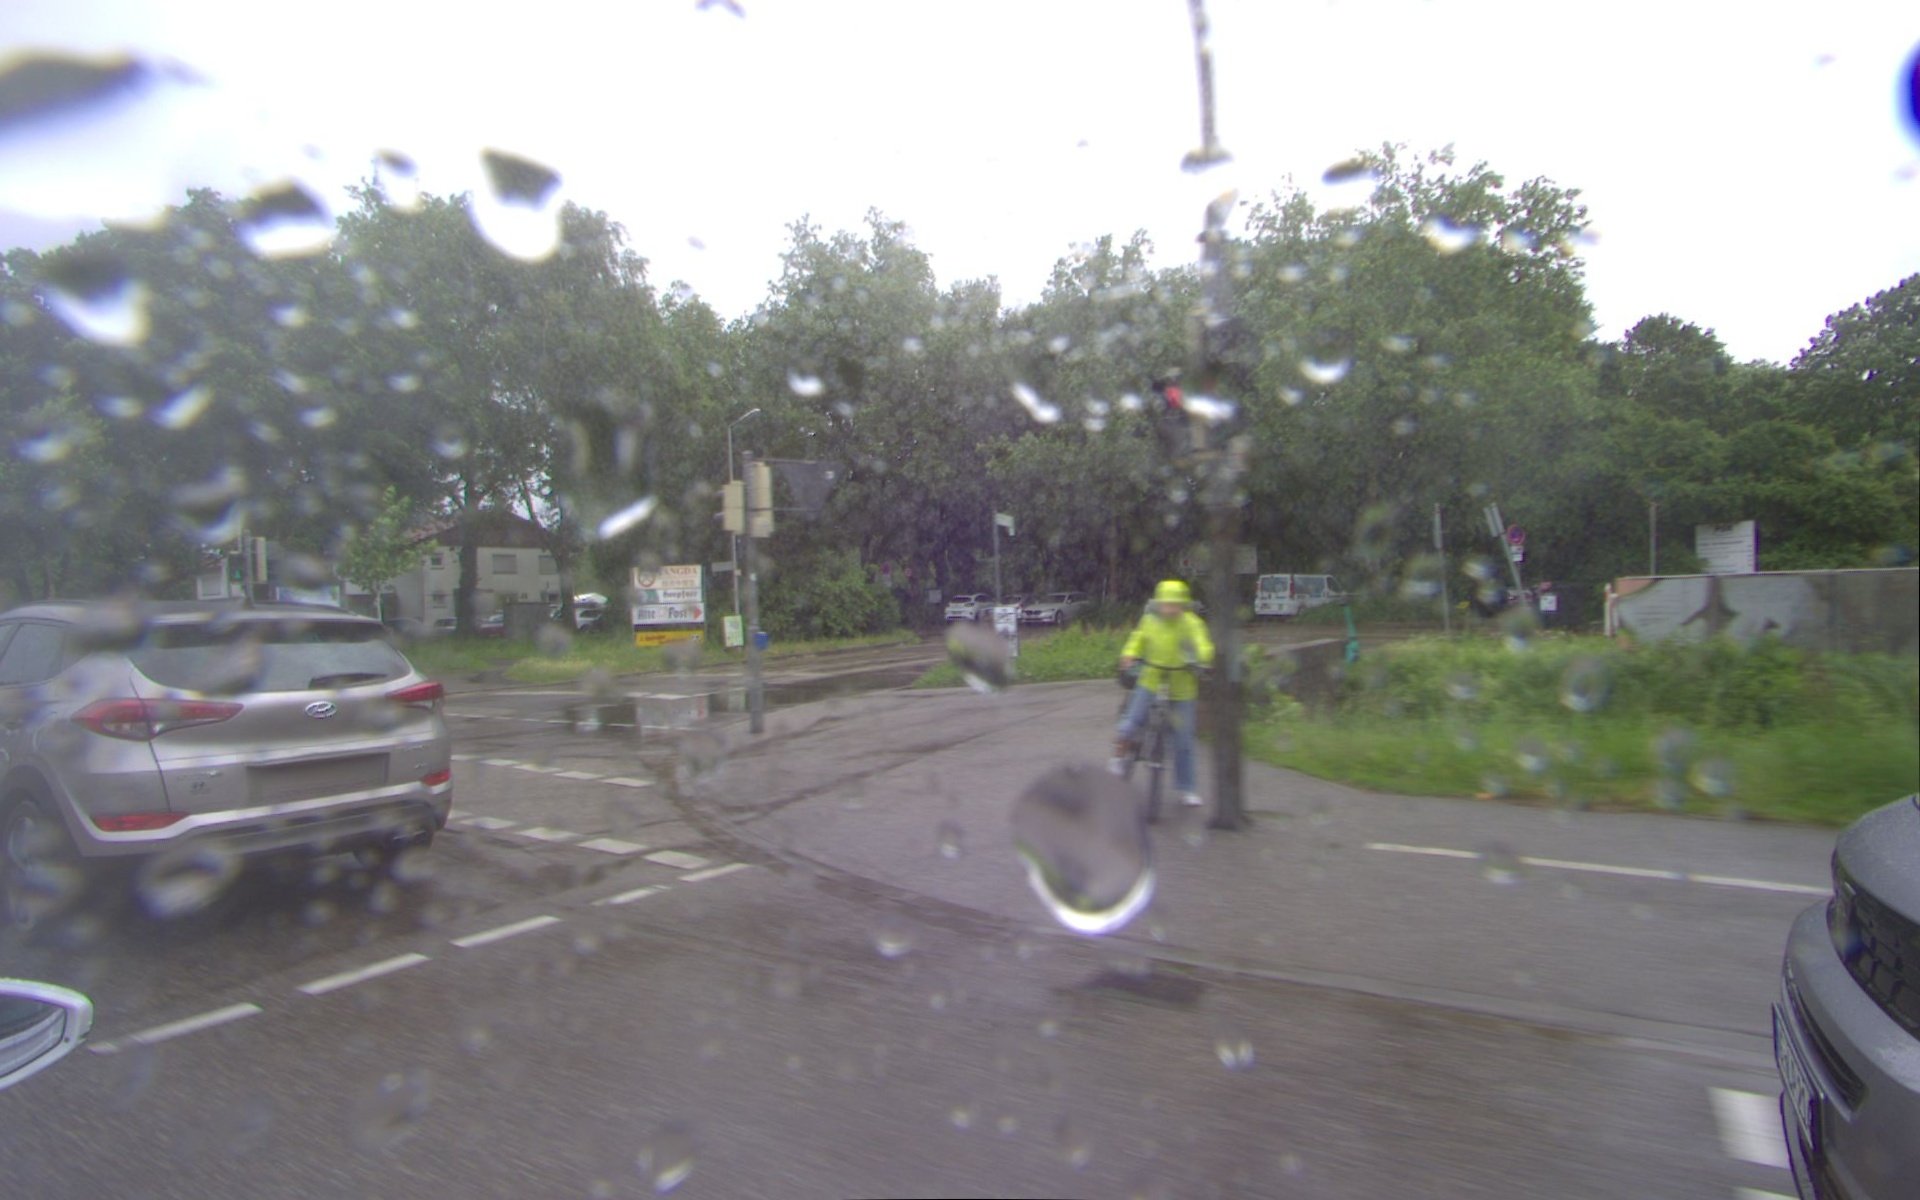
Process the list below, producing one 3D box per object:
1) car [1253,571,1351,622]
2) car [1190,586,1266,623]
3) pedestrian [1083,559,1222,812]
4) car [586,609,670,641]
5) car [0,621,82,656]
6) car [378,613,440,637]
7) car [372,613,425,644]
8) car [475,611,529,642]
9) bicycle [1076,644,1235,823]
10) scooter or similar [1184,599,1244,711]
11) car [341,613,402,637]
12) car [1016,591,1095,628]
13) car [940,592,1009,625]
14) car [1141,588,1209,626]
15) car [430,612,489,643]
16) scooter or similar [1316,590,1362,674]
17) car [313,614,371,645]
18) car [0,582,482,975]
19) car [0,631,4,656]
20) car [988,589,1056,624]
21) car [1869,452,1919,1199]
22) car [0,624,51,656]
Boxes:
[{"bbox_3d":[14.447,-0.107,42.263,4.144,1.989,1.912,0,-2,-37],"label":"car"},{"bbox_3d":[11.711,0.232,43.578,1.900,1.508,4.170,-2,-2,35],"label":"car"},{"bbox_3d":[1.369,0.590,7.230,0.774,1.701,0.669,-4,1,-1],"label":"pedestrian"},{"bbox_3d":[-16.283,1.216,49.218,1.647,1.467,3.701,-2,-2,33],"label":"car"},{"bbox_3d":[-50.842,2.154,55.331,4.807,1.740,1.990,-2,0,30],"label":"car"},{"bbox_3d":[-34.600,1.559,62.873,3.941,1.403,1.582,-2,-2,30],"label":"car"},{"bbox_3d":[-28.036,1.451,50.108,1.641,1.467,3.746,-1,-2,-19],"label":"car"},{"bbox_3d":[-23.249,1.372,50.971,1.573,1.467,3.751,-1,-2,-10],"label":"car"},{"bbox_3d":[1.386,0.918,7.438,0.774,1.052,1.664,-4,0,-1],"label":"bicycle"},{"bbox_3d":[2.983,0.622,11.729,0.318,1.246,0.954,-1,1,37],"label":"scooter or similar"},{"bbox_3d":[-35.752,1.524,60.785,3.647,1.332,1.570,-2,-2,29],"label":"car"},{"bbox_3d":[4.643,0.490,47.910,1.899,1.651,4.578,-2,-2,32],"label":"car"},{"bbox_3d":[0.795,0.477,51.572,1.894,1.603,4.589,-2,-2,24],"label":"car"},{"bbox_3d":[9.764,0.338,45.359,1.698,1.617,3.647,-2,-2,35],"label":"car"},{"bbox_3d":[-25.166,1.397,50.430,1.638,1.467,3.751,-1,-2,-10],"label":"car"},{"bbox_3d":[5.539,0.467,14.628,0.553,1.192,0.284,-1,1,39],"label":"scooter or similar"},{"bbox_3d":[-30.272,1.468,49.148,1.641,1.467,3.746,-1,-2,-19],"label":"car"},{"bbox_3d":[-4.995,0.810,6.091,4.136,1.631,1.881,-1,-2,33],"label":"car"},{"bbox_3d":[-61.755,2.774,62.731,4.013,1.505,1.635,-2,-2,30],"label":"car"},{"bbox_3d":[3.155,0.375,50.185,1.894,1.603,4.589,-2,-2,24],"label":"car"},{"bbox_3d":[3.825,0.490,0.616,4.498,1.819,1.989,-2,-1,33],"label":"car"},{"bbox_3d":[-55.384,2.350,58.514,4.574,1.740,1.990,-2,0,30],"label":"car"}]
